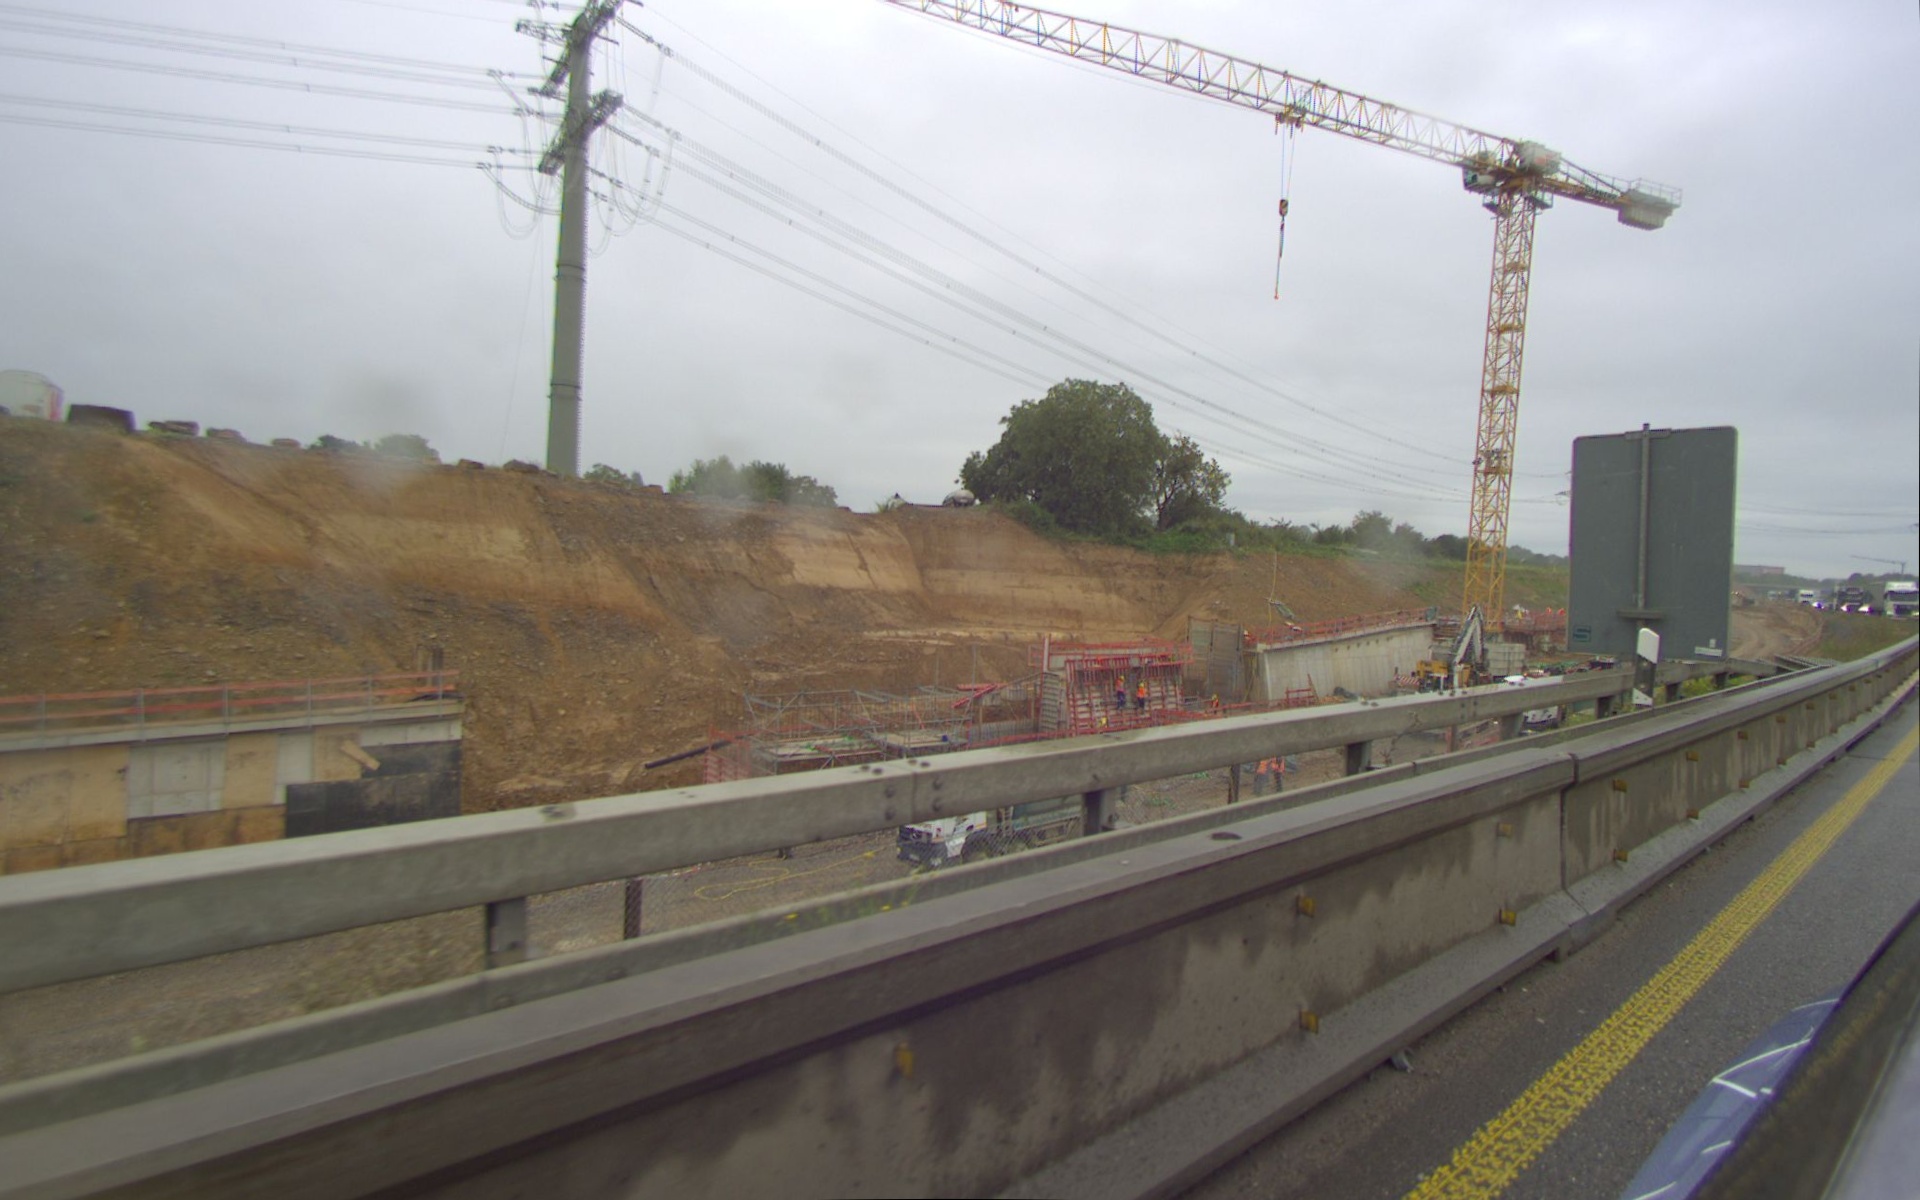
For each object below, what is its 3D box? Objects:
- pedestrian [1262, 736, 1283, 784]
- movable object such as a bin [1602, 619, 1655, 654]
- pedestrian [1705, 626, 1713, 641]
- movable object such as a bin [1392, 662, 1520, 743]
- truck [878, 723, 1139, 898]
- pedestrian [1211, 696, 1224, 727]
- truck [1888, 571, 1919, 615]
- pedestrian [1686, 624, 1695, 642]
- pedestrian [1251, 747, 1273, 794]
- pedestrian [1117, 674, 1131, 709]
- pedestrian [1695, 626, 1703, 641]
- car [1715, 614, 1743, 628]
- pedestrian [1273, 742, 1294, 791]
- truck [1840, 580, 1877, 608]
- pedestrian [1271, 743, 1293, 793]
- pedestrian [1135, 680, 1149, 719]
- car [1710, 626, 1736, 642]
[{"bbox_3d":[13.664,6.989,44.250,0.474,1.928,0.602,0,4,-44],"label":"pedestrian"},{"bbox_3d":[68.014,3.705,103.023,3.935,2.914,3.499,-1,8,-44],"label":"movable object such as a bin"},{"bbox_3d":[84.834,3.777,114.594,0.593,1.702,0.613,0,0,-43],"label":"pedestrian"},{"bbox_3d":[26.681,5.383,54.382,6.527,3.466,3.520,-2,2,-35],"label":"movable object such as a bin"},{"bbox_3d":[1.777,6.429,32.505,8.916,3.655,2.709,-2,4,-41],"label":"truck"},{"bbox_3d":[15.308,6.621,60.085,0.474,1.781,0.488,0,4,-44],"label":"pedestrian"},{"bbox_3d":[100.533,-0.698,106.333,4.304,4.399,13.205,0,0,42],"label":"truck"},{"bbox_3d":[81.595,3.698,113.060,0.655,1.881,0.613,0,3,-43],"label":"pedestrian"},{"bbox_3d":[12.658,7.146,42.471,0.474,1.790,0.602,0,5,-44],"label":"pedestrian"},{"bbox_3d":[8.906,4.953,55.025,0.571,1.827,0.489,-3,-2,-4],"label":"pedestrian"},{"bbox_3d":[82.106,3.708,112.500,0.593,1.702,0.613,0,0,-43],"label":"pedestrian"},{"bbox_3d":[102.319,2.793,134.564,2.346,1.638,4.782,3,3,45],"label":"car"},{"bbox_3d":[13.860,7.131,43.339,0.474,1.928,0.602,0,3,-44],"label":"pedestrian"},{"bbox_3d":[130.289,-0.907,146.689,8.199,3.942,3.538,0,0,-45],"label":"truck"},{"bbox_3d":[13.506,7.046,42.445,0.604,1.928,0.602,0,3,-44],"label":"pedestrian"},{"bbox_3d":[10.072,5.506,55.944,0.474,2.127,0.488,0,-3,-44],"label":"pedestrian"},{"bbox_3d":[89.196,3.964,118.251,1.856,1.638,4.015,3,3,44],"label":"car"}]
